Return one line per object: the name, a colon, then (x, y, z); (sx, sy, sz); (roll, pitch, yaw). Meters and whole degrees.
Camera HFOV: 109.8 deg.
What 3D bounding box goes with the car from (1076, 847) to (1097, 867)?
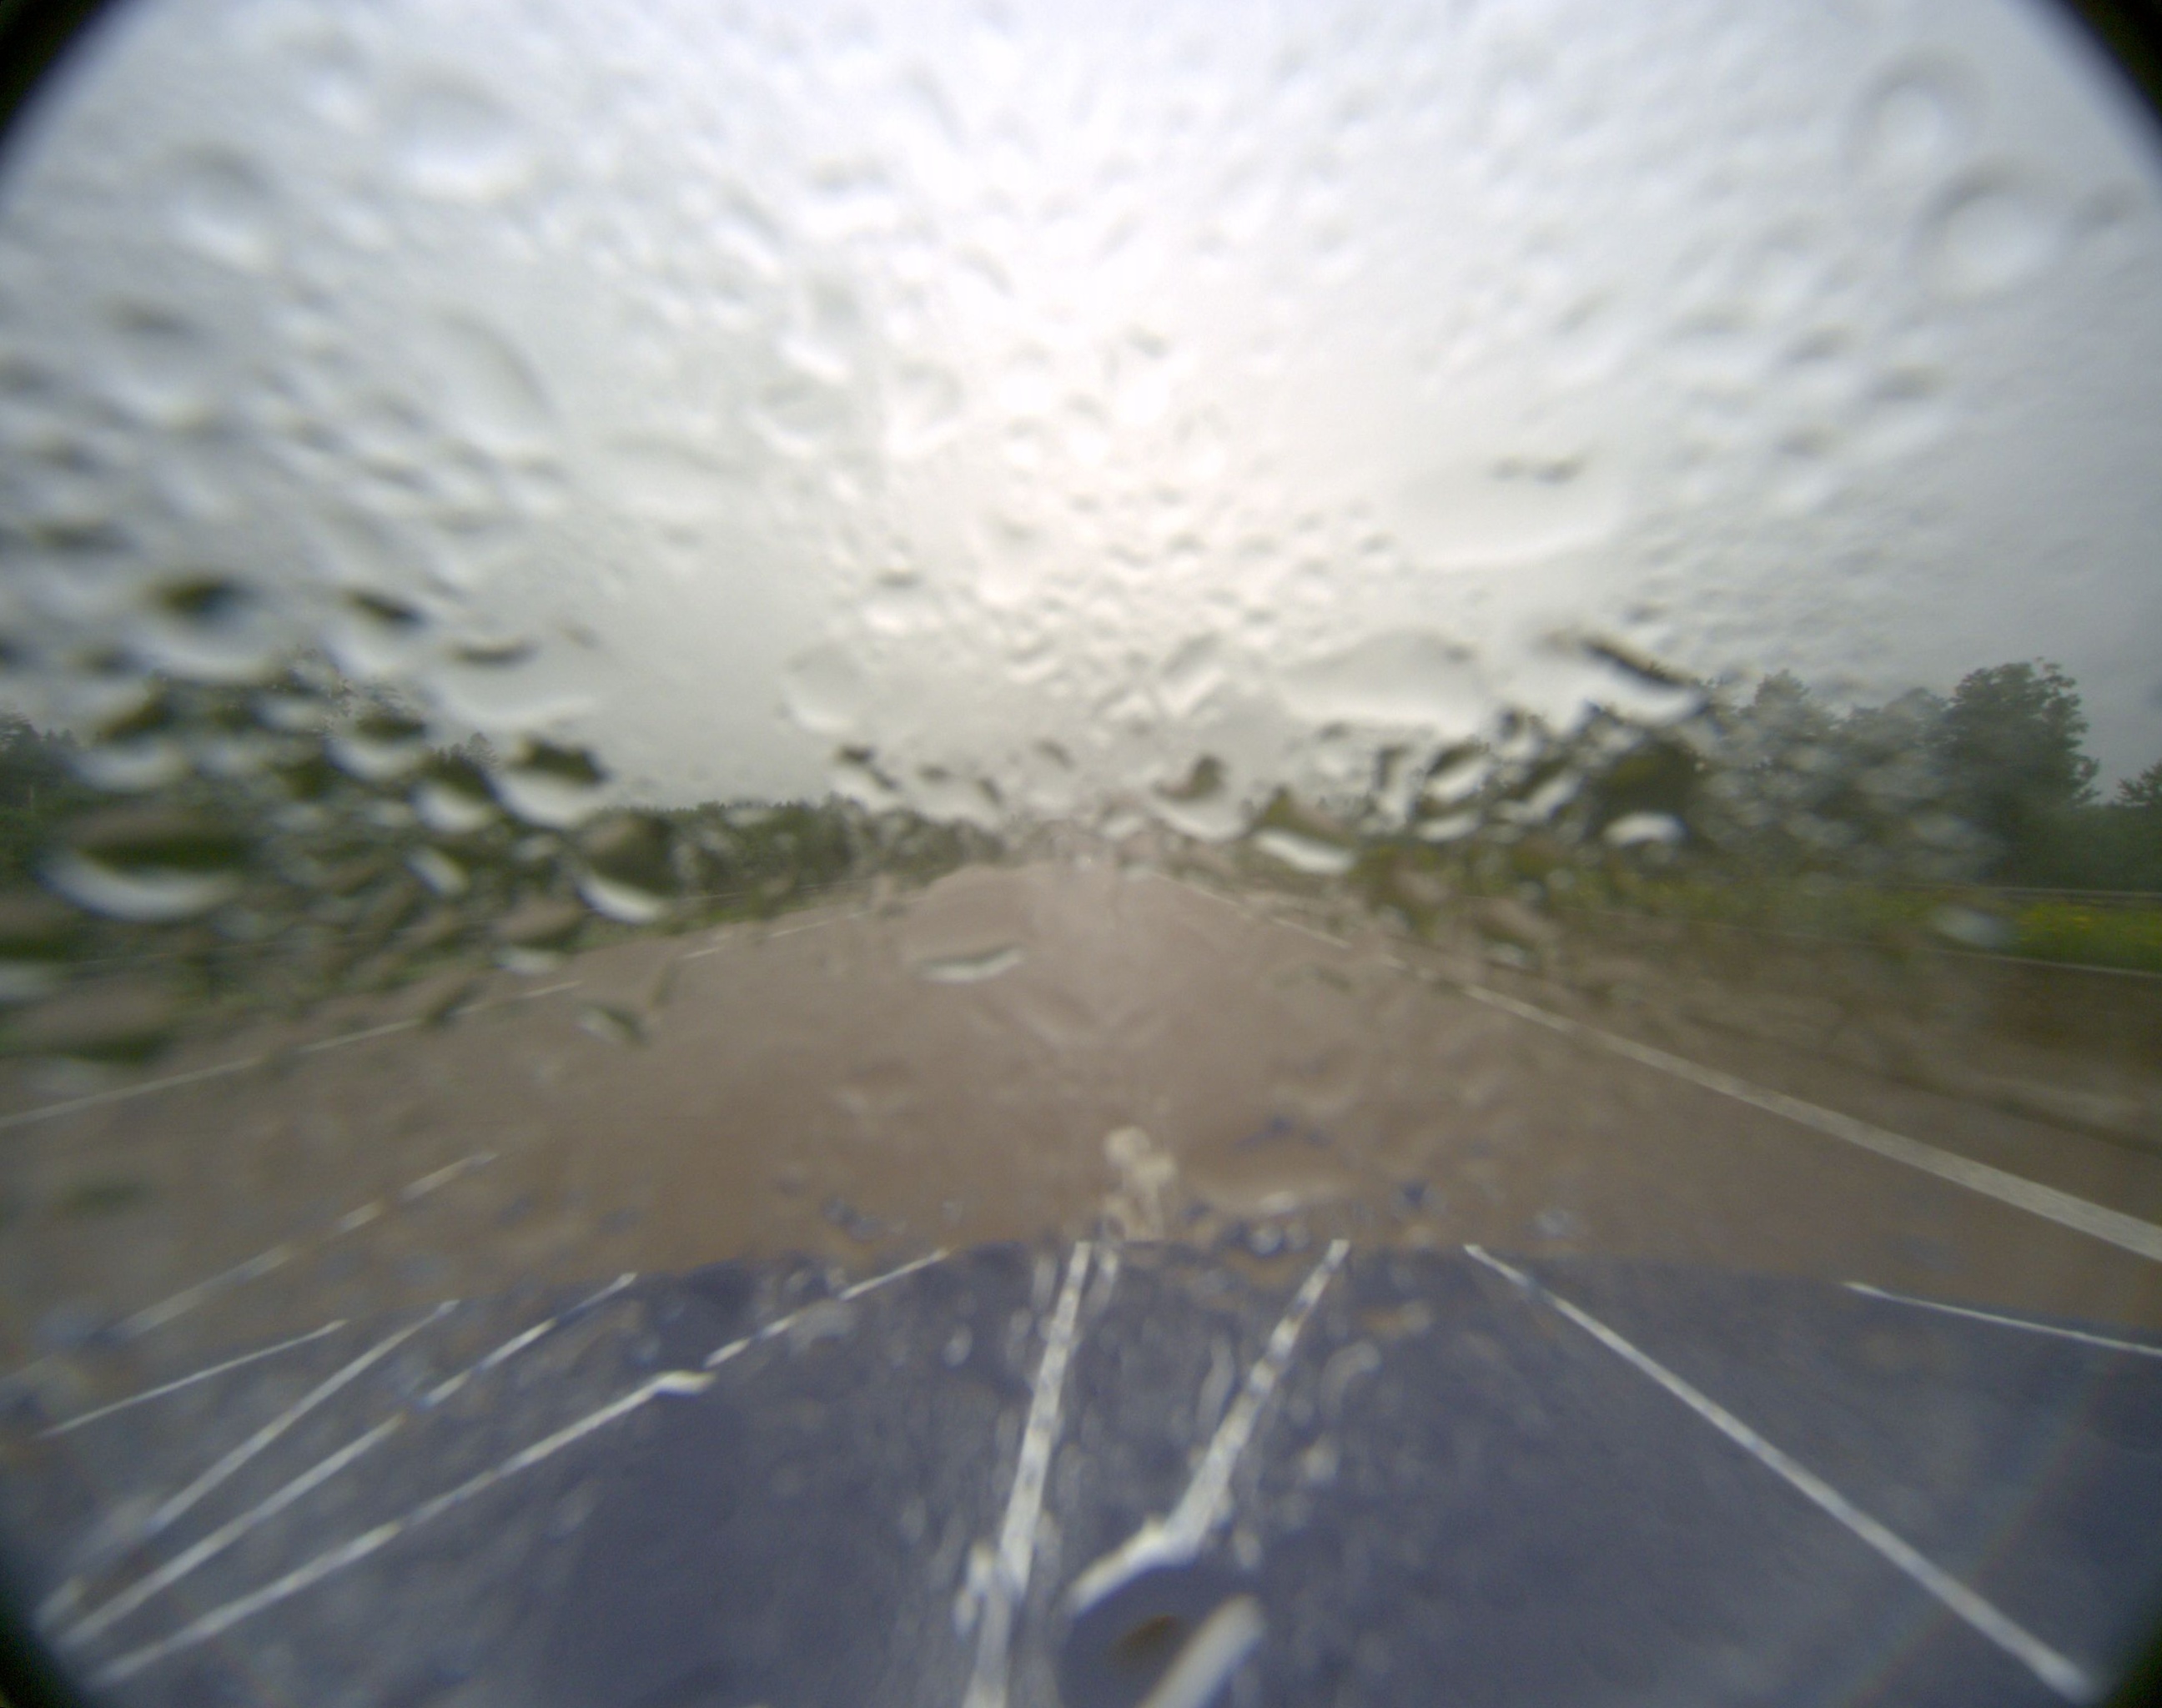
car: (0.582, 0.293, 80.056); (1.998, 2.002, 4.277); (-3, 0, 1)
